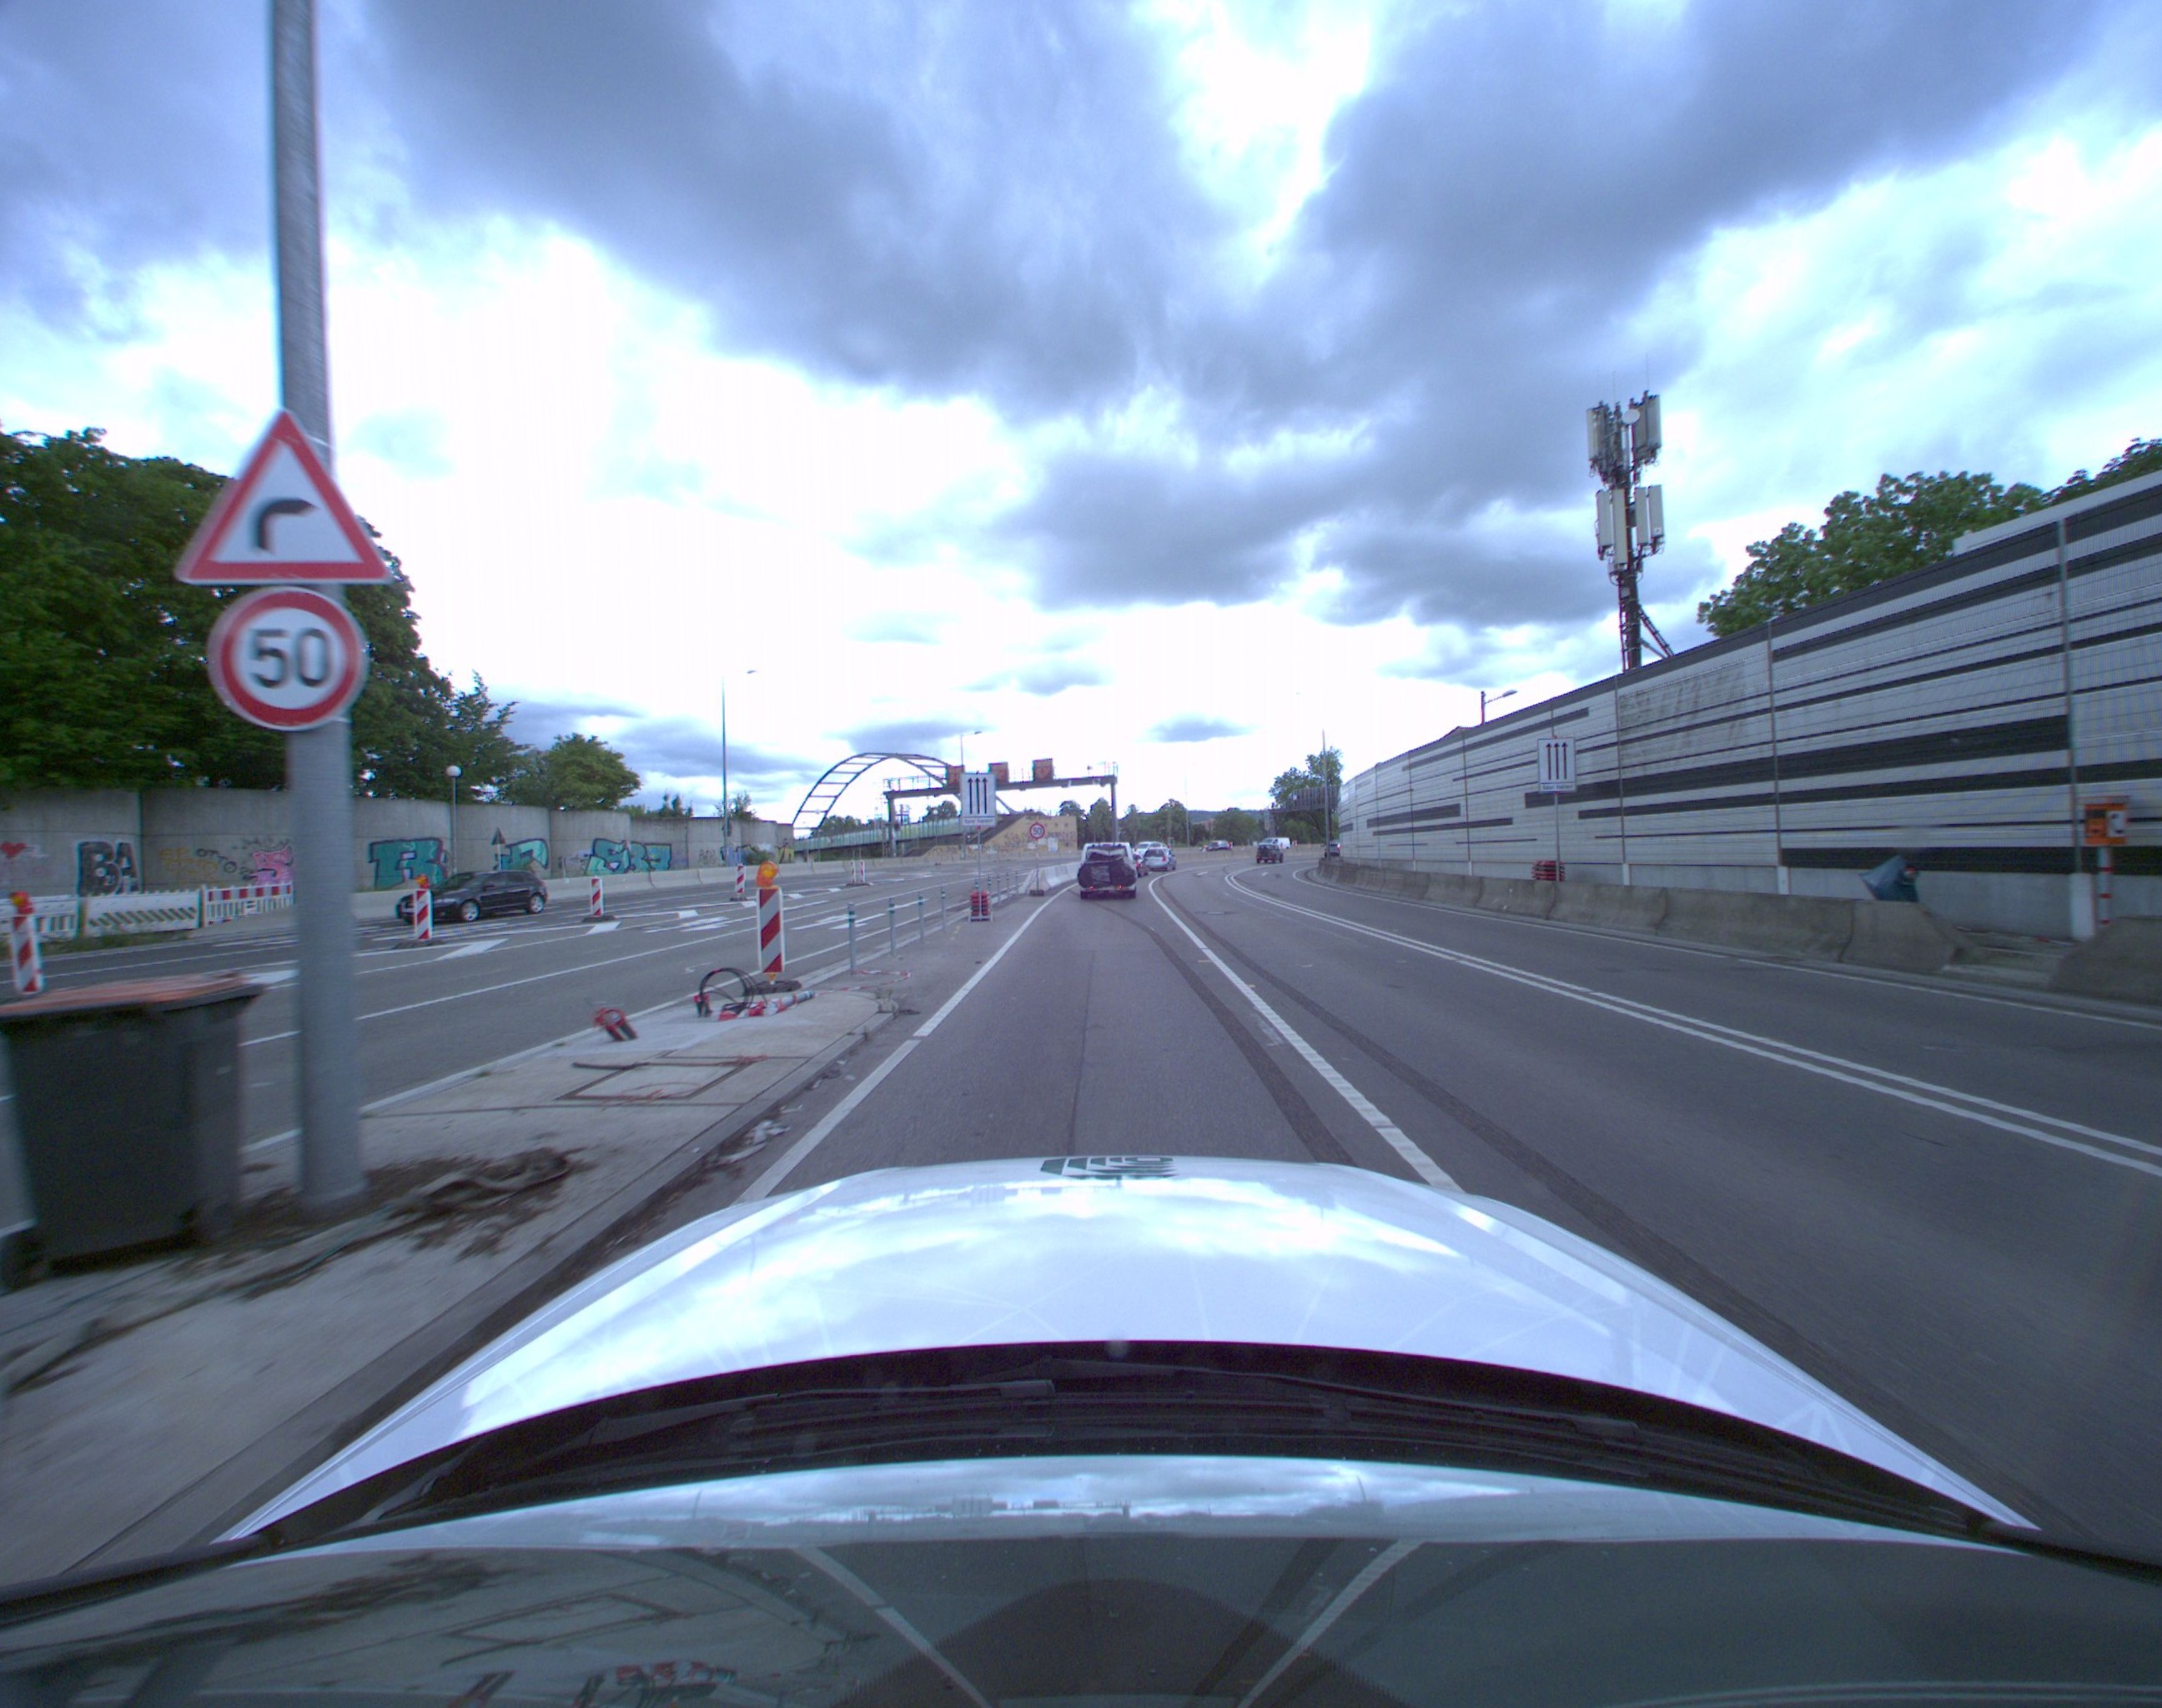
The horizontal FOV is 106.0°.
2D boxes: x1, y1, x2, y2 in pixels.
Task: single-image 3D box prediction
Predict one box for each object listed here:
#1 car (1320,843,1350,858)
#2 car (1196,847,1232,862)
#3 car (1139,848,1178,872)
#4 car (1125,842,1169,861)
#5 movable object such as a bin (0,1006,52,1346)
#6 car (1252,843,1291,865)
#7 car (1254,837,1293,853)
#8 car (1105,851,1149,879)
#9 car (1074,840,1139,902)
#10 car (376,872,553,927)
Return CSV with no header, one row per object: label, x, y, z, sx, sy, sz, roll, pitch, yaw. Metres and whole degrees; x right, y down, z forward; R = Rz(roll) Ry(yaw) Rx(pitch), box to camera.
car,27.067,-0.398,86.700,1.992,1.488,4.091,-1,1,33
car,15.739,0.012,96.241,1.974,1.695,4.959,-2,0,38
car,5.284,0.366,55.074,1.906,1.488,4.083,-1,1,16
car,6.798,-0.255,82.886,1.931,1.750,5.308,-2,0,36
movable object such as a bin,-3.564,1.005,2.408,0.487,1.017,0.423,-1,0,-4
car,16.933,-0.004,72.273,1.974,1.860,4.026,-2,0,34
car,24.446,-1.111,103.361,5.130,1.951,2.219,-1,0,-39
car,2.633,0.600,45.569,1.803,1.434,4.078,-3,0,12
car,0.824,0.552,28.149,1.986,1.859,5.640,-1,-1,0
car,-18.010,1.271,24.086,1.855,1.350,4.199,-2,0,3
